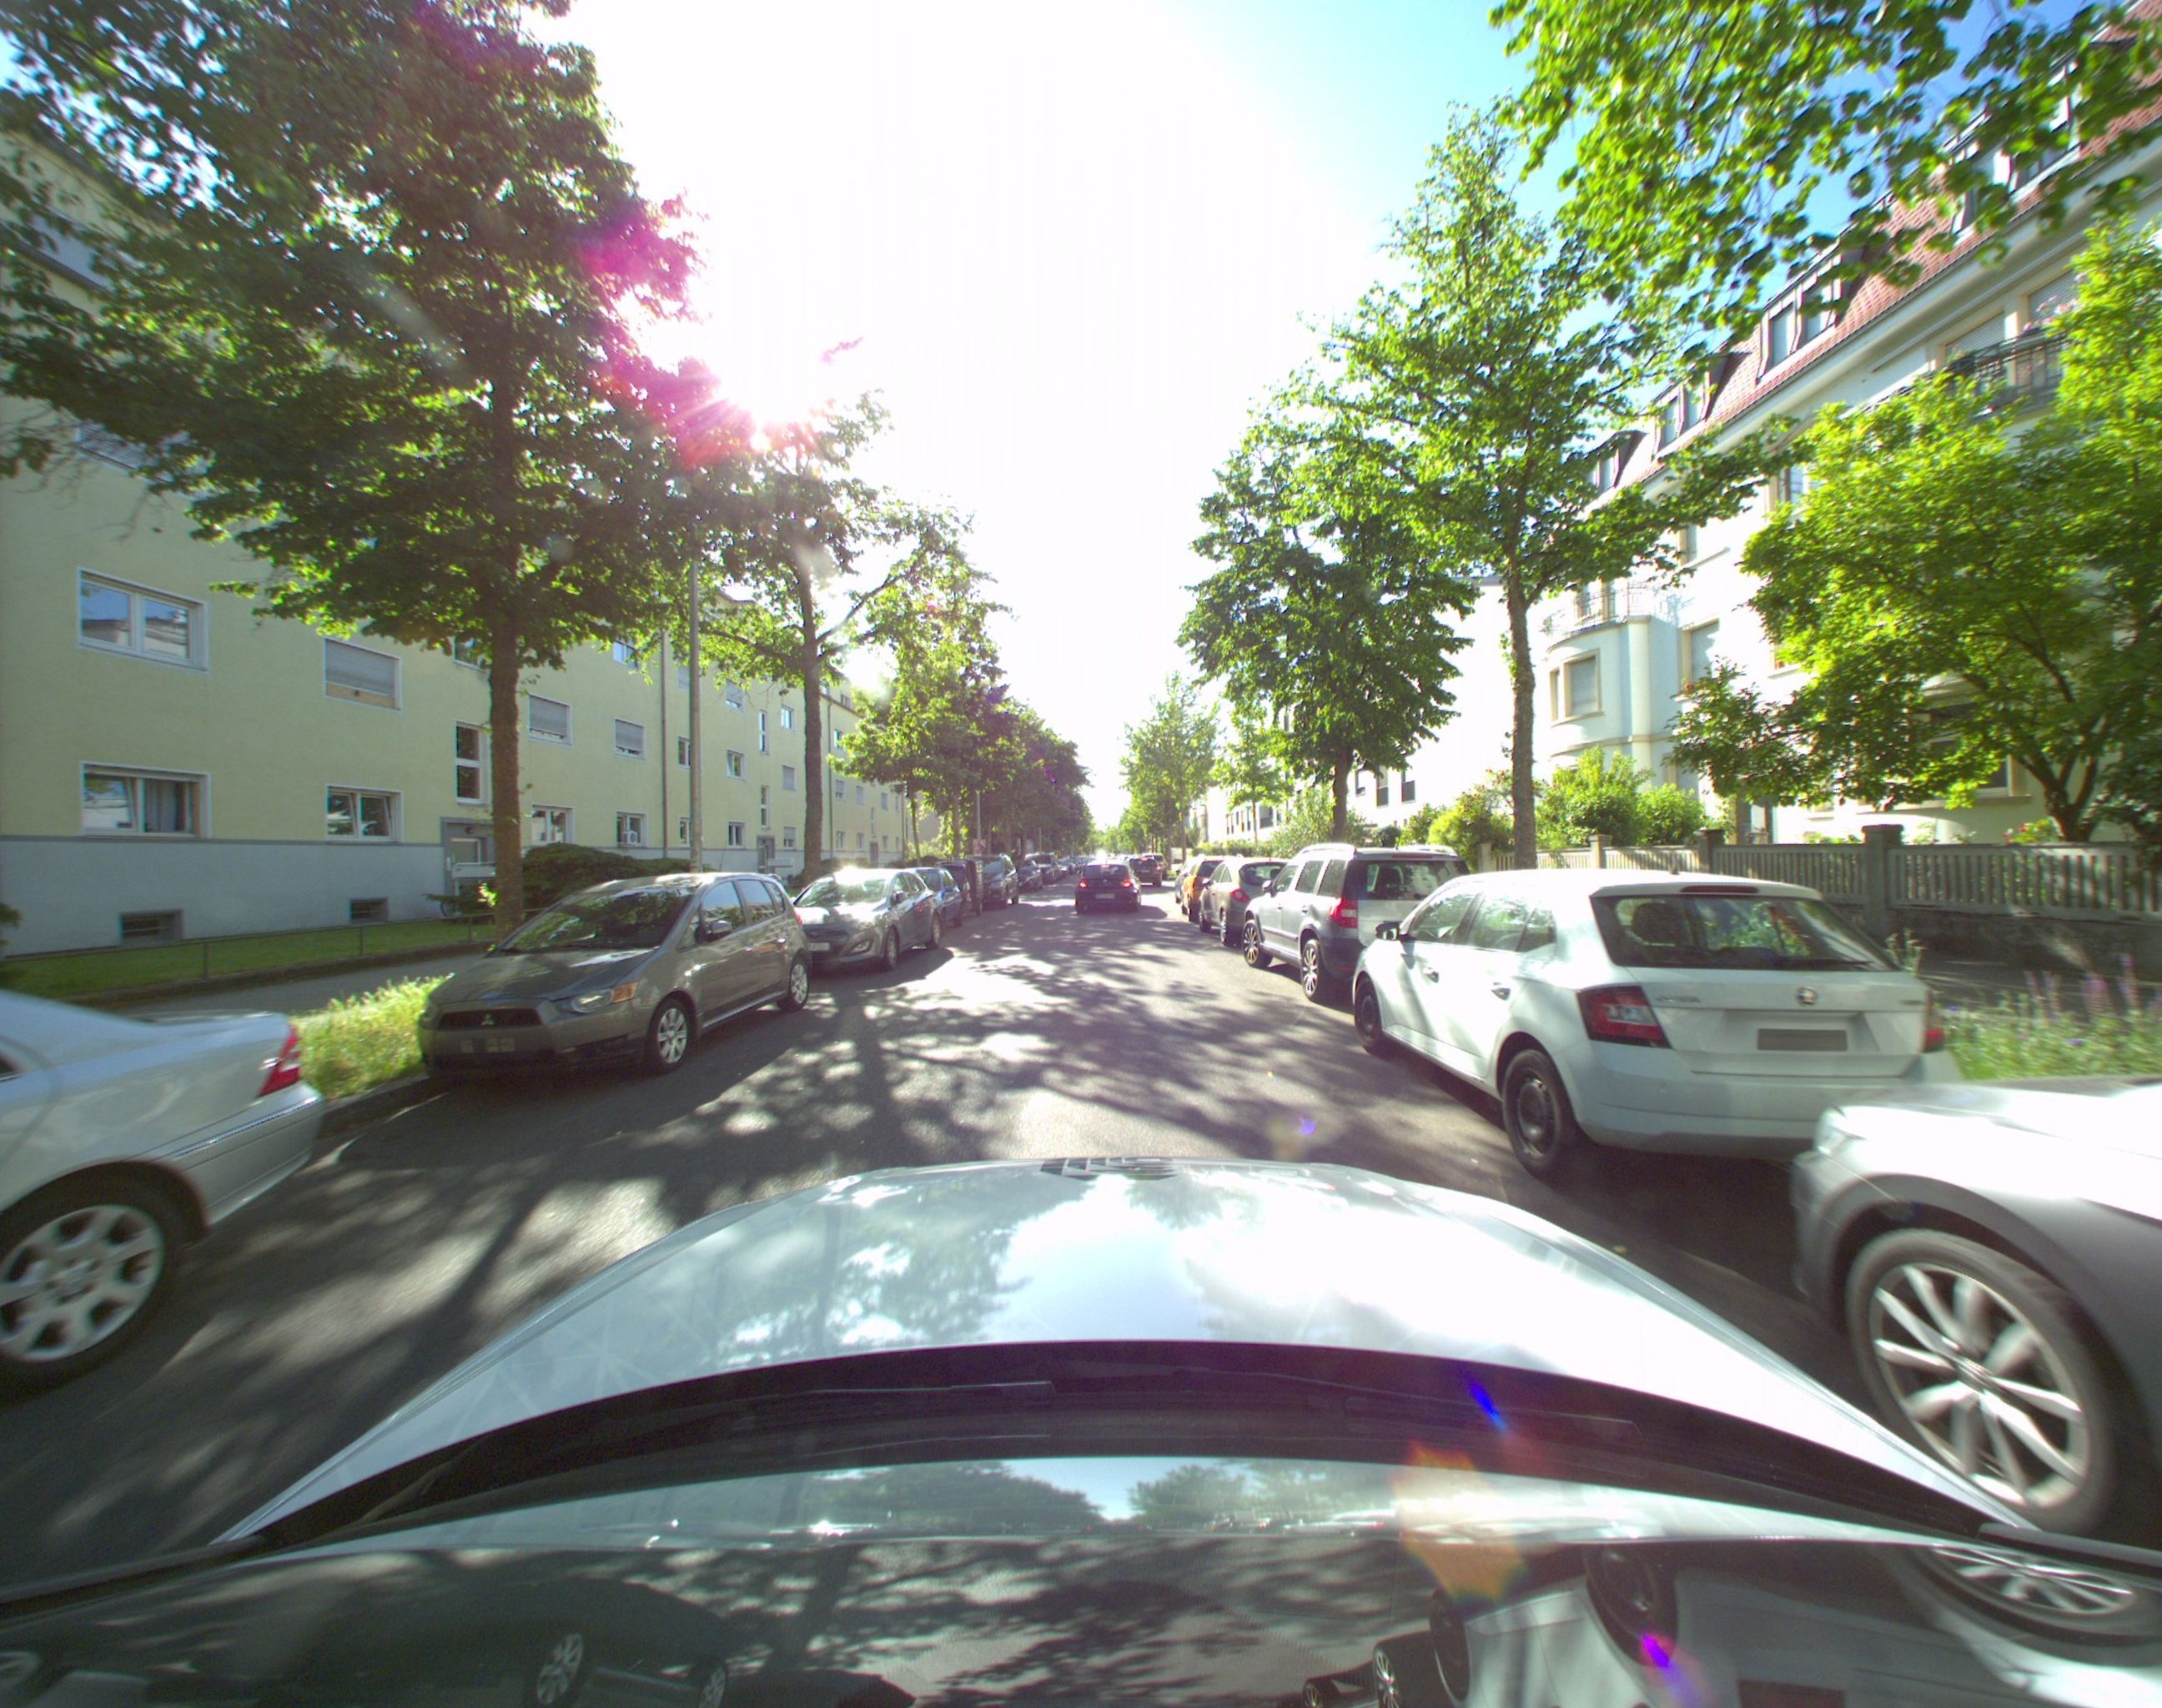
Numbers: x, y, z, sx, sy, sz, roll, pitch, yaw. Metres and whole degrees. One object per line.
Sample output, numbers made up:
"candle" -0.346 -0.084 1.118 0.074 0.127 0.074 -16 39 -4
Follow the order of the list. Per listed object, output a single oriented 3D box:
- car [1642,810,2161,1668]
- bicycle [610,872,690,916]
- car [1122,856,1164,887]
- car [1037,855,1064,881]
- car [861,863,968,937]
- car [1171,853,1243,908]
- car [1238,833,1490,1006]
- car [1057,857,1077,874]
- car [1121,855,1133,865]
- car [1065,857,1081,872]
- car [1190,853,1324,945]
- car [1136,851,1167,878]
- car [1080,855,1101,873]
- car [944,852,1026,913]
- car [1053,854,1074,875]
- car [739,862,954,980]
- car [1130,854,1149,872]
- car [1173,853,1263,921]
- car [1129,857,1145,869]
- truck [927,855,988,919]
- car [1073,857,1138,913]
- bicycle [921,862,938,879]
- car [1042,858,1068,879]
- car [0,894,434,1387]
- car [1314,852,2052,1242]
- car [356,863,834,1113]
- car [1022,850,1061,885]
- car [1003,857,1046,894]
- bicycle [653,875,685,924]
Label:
"car" 2.842 0.723 0.668 1.678 1.588 4.535 1 0 0
"bicycle" -11.507 1.060 21.780 1.834 1.081 0.486 -2 0 -2
"car" 3.072 0.822 40.953 1.645 1.425 3.998 -2 0 -2
"car" -2.026 0.920 54.727 1.607 1.611 4.228 -2 0 0
"car" -3.551 0.924 17.986 1.515 1.395 3.727 -2 0 1
"car" 3.719 0.737 24.651 1.694 1.449 4.085 -2 0 2
"car" 3.152 0.646 9.908 1.644 1.655 3.845 -1 0 -1
"car" -1.269 1.061 76.270 1.606 1.452 3.866 -2 0 1
"car" 7.560 0.984 133.357 1.713 1.480 3.856 -2 0 5
"car" -0.832 1.122 87.790 1.606 1.543 3.866 -2 0 1
"car" 3.101 0.738 15.031 1.644 1.428 3.612 -2 0 0
"car" 4.456 0.686 52.037 1.840 1.631 4.414 0 -1 3
"car" 0.824 0.834 69.217 1.498 1.426 3.183 -1 0 6
"car" -3.018 0.854 26.636 1.842 1.680 4.978 -4 0 2
"car" -1.481 0.883 70.569 1.606 1.679 4.235 -2 0 1
"car" -3.482 0.915 13.137 1.784 1.444 4.692 -3 0 4
"car" 5.577 0.877 78.165 1.714 1.641 3.854 1 0 3
"car" 3.261 0.738 20.093 1.630 1.455 4.101 -2 0 2
"car" 6.412 1.025 93.273 1.714 1.379 3.854 1 0 3
"truck" -3.300 0.844 22.009 1.079 1.577 2.434 -2 0 4
"car" 0.693 0.823 23.019 1.643 1.397 3.412 -2 0 1
"bicycle" -9.114 0.998 48.995 0.592 0.991 1.929 -2 0 2
"car" -1.866 1.035 60.035 1.606 1.427 4.059 -2 0 1
"car" -4.083 0.905 1.590 1.739 1.368 4.676 -2 0 2
"car" 2.894 0.737 5.266 1.623 1.425 4.370 -2 0 2
"car" -3.871 0.914 7.527 1.614 1.515 4.272 -4 0 3
"car" -2.311 0.753 49.015 1.819 1.904 5.145 -3 0 3
"car" -2.606 0.952 38.591 1.502 1.548 4.780 -4 0 1
"bicycle" -9.619 1.033 19.059 0.487 1.081 1.831 1 -1 -22
